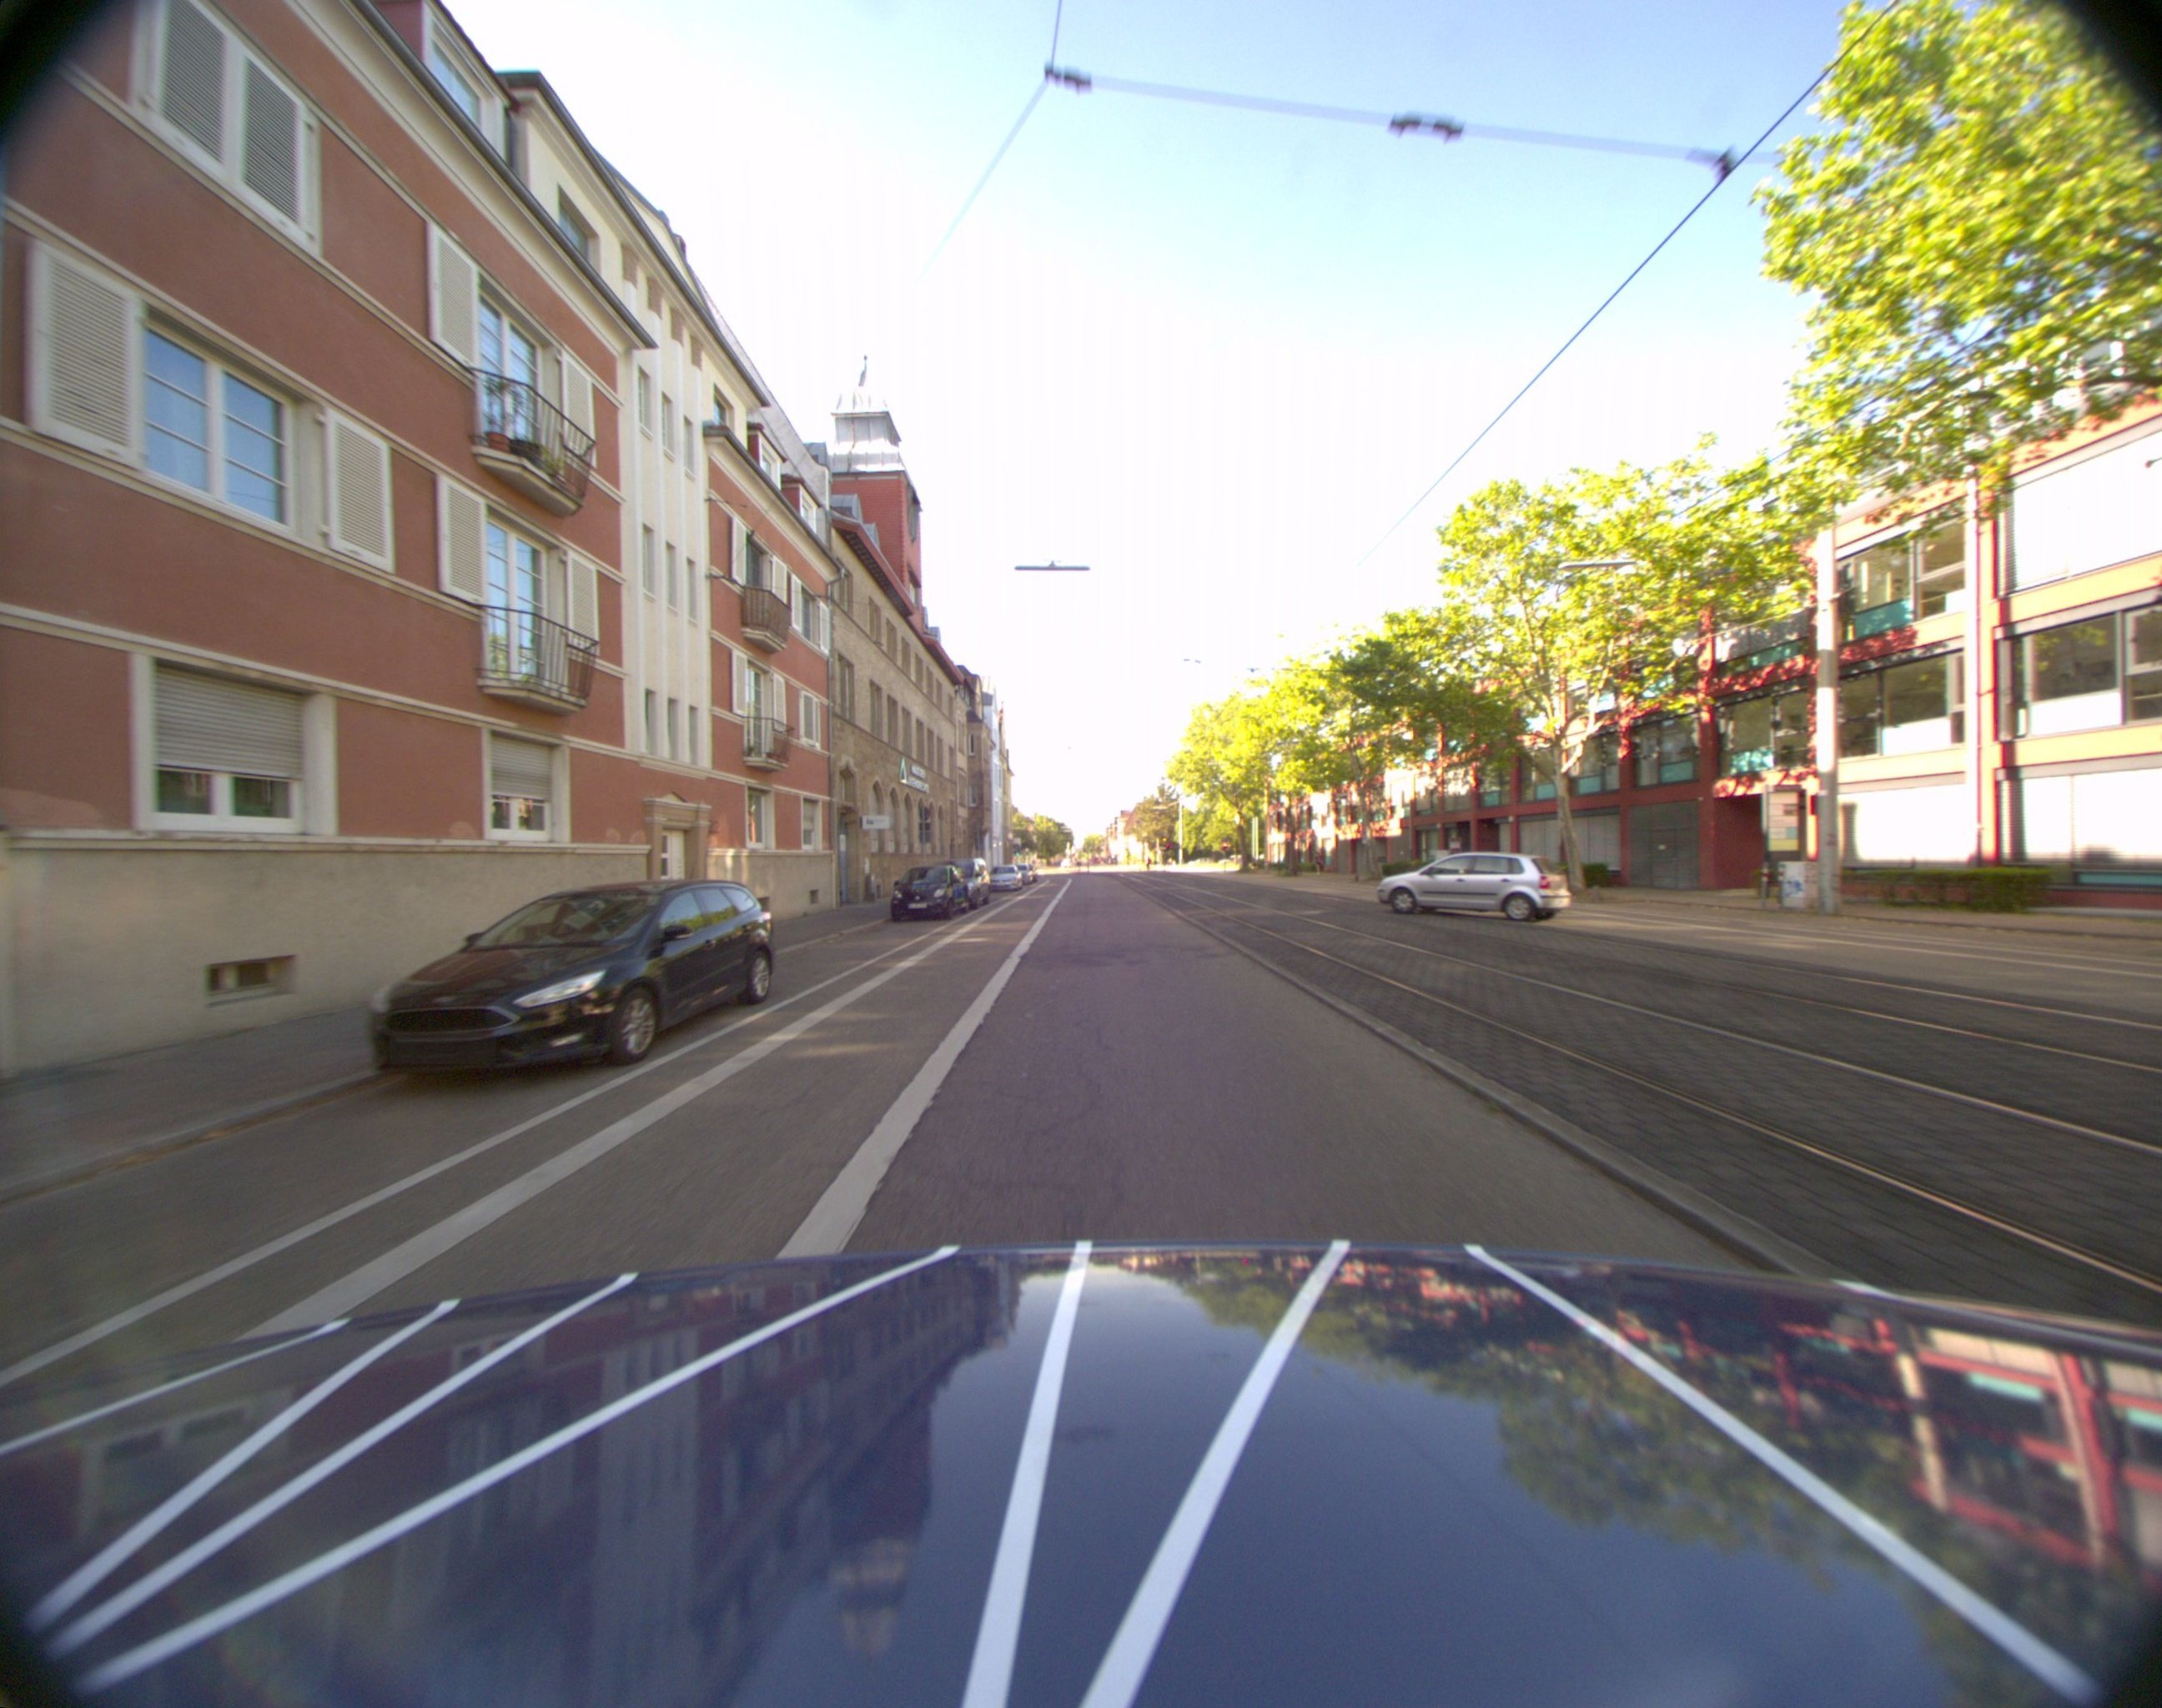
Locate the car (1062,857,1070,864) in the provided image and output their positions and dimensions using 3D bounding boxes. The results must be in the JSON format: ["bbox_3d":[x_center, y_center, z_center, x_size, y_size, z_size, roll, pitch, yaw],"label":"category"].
[{"bbox_3d":[-3.822,1.663,193.390,1.704,1.541,4.002,-3,0,5],"label":"car"}]

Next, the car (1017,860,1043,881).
[{"bbox_3d":[-3.841,1.205,57.815,1.659,1.474,4.000,-2,0,0],"label":"car"}]

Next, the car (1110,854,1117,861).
[{"bbox_3d":[9.029,1.000,210.896,1.924,1.704,4.000,-3,0,1],"label":"car"}]

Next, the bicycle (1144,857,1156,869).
[{"bbox_3d":[7.641,1.045,84.420,0.632,1.124,2.037,-1,5,25],"label":"bicycle"}]

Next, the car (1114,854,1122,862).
[{"bbox_3d":[9.639,0.993,196.172,1.923,1.889,4.001,-3,0,3],"label":"car"}]

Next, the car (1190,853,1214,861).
[{"bbox_3d":[21.418,0.566,134.644,3.995,1.425,1.817,-1,0,6],"label":"car"}]

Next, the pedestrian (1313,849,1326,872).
[{"bbox_3d":[18.713,0.521,59.650,0.627,1.708,0.900,-3,0,-1],"label":"pedestrian"}]

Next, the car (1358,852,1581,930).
[{"bbox_3d":[8.543,0.725,16.981,1.762,1.509,4.059,0,1,-41],"label":"car"}]

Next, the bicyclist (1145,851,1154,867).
[{"bbox_3d":[7.608,0.564,84.398,0.605,1.682,0.934,-3,0,25],"label":"bicyclist"}]

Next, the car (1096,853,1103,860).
[{"bbox_3d":[5.687,0.901,232.002,2.024,2.001,5.252,0,-1,3],"label":"car"}]

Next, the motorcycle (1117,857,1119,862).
[{"bbox_3d":[8.808,1.267,181.305,0.605,1.040,2.438,-3,0,2],"label":"motorcycle"}]

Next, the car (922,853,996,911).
[{"bbox_3d":[-4.212,0.916,27.035,1.757,1.844,4.815,-2,0,0],"label":"car"}]

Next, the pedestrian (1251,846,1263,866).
[{"bbox_3d":[18.460,0.216,79.887,0.913,2.002,0.780,-3,0,-8],"label":"pedestrian"}]

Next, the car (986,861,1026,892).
[{"bbox_3d":[-4.087,1.197,42.083,1.718,1.492,4.226,-3,0,0],"label":"car"}]

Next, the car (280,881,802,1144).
[{"bbox_3d":[-4.463,1.142,7.451,1.758,1.502,4.762,-3,0,-2],"label":"car"}]

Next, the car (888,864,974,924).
[{"bbox_3d":[-4.328,1.118,22.409,1.635,1.502,3.717,-3,0,2],"label":"car"}]

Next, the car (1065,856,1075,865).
[{"bbox_3d":[-2.318,1.432,162.587,1.923,1.704,4.001,-3,0,3],"label":"car"}]

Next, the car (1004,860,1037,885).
[{"bbox_3d":[-4.103,1.233,52.274,1.757,1.492,4.196,-3,0,2],"label":"car"}]

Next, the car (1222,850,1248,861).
[{"bbox_3d":[27.666,0.225,136.913,4.311,1.856,1.817,-1,0,3],"label":"car"}]

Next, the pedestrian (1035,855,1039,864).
[{"bbox_3d":[-8.477,1.104,145.419,0.655,1.664,0.943,0,0,3],"label":"pedestrian"}]

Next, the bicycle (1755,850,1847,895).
[{"bbox_3d":[21.937,0.568,23.164,2.066,1.265,0.619,-3,0,4],"label":"bicycle"}]

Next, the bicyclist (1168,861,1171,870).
[{"bbox_3d":[15.806,2.051,135.405,0.559,1.613,0.899,-1,0,8],"label":"bicyclist"}]

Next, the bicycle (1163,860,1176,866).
[{"bbox_3d":[15.734,1.648,135.431,2.284,1.111,0.930,-1,0,8],"label":"bicycle"}]
